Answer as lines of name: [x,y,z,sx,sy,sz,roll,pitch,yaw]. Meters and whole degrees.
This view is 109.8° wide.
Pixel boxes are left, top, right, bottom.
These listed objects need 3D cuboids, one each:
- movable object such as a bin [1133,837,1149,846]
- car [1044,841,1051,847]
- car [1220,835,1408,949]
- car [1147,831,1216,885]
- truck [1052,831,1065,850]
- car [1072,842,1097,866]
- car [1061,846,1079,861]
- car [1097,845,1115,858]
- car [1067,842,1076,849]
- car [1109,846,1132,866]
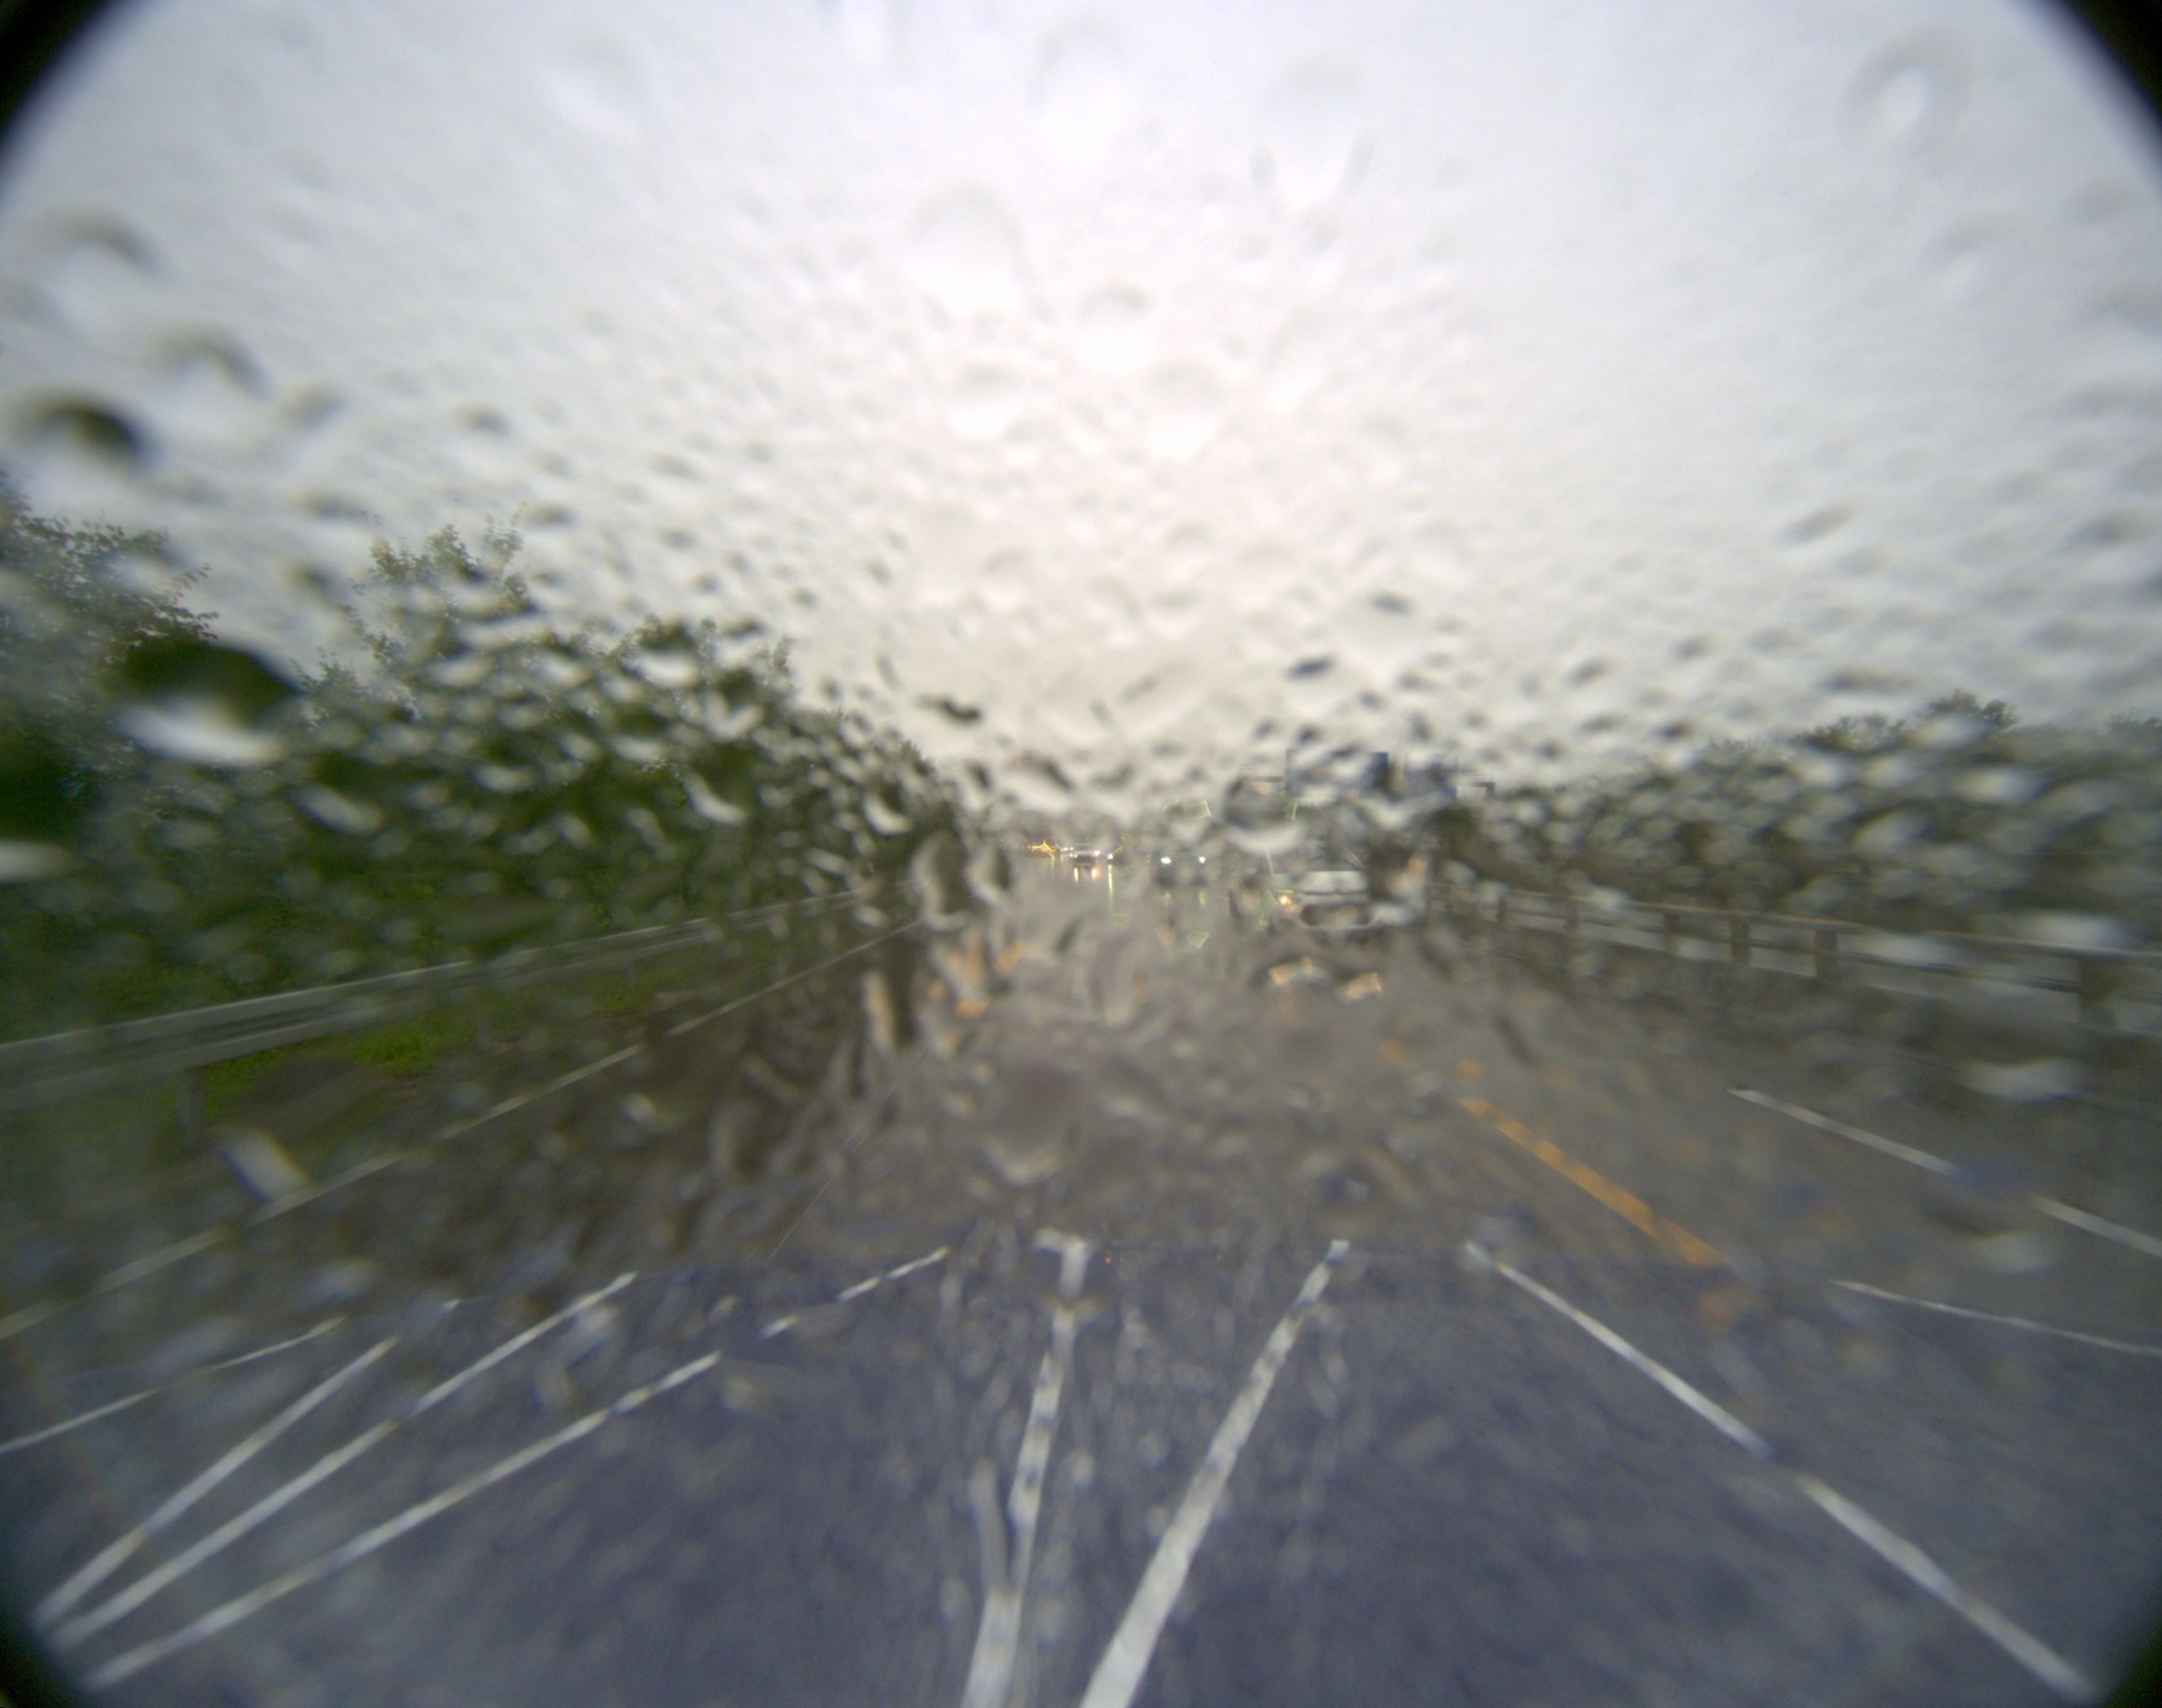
movable object such as a bin: [17.327,-3.612,221.104,3.449,2.282,5.096,-2,1,-9]
car: [-9.367,-2.774,211.222,1.834,1.740,3.998,-2,1,-3]
car: [3.733,0.555,13.049,1.978,1.586,4.310,-1,0,2]
car: [4.189,0.099,32.554,2.211,2.002,5.563,-2,1,1]
truck: [-5.033,-2.968,169.095,2.484,4.061,8.699,-2,1,-3]
car: [0.239,-0.026,66.732,1.882,2.002,3.998,-2,1,-3]
car: [-1.317,-0.100,88.625,1.882,1.657,3.998,-2,1,-2]
car: [3.228,-0.359,97.655,1.845,1.586,3.998,-2,1,-3]
car: [-2.306,-2.027,182.104,1.752,1.579,3.998,-2,1,-3]
car: [3.697,0.120,71.865,1.695,1.740,3.998,-2,1,-3]
